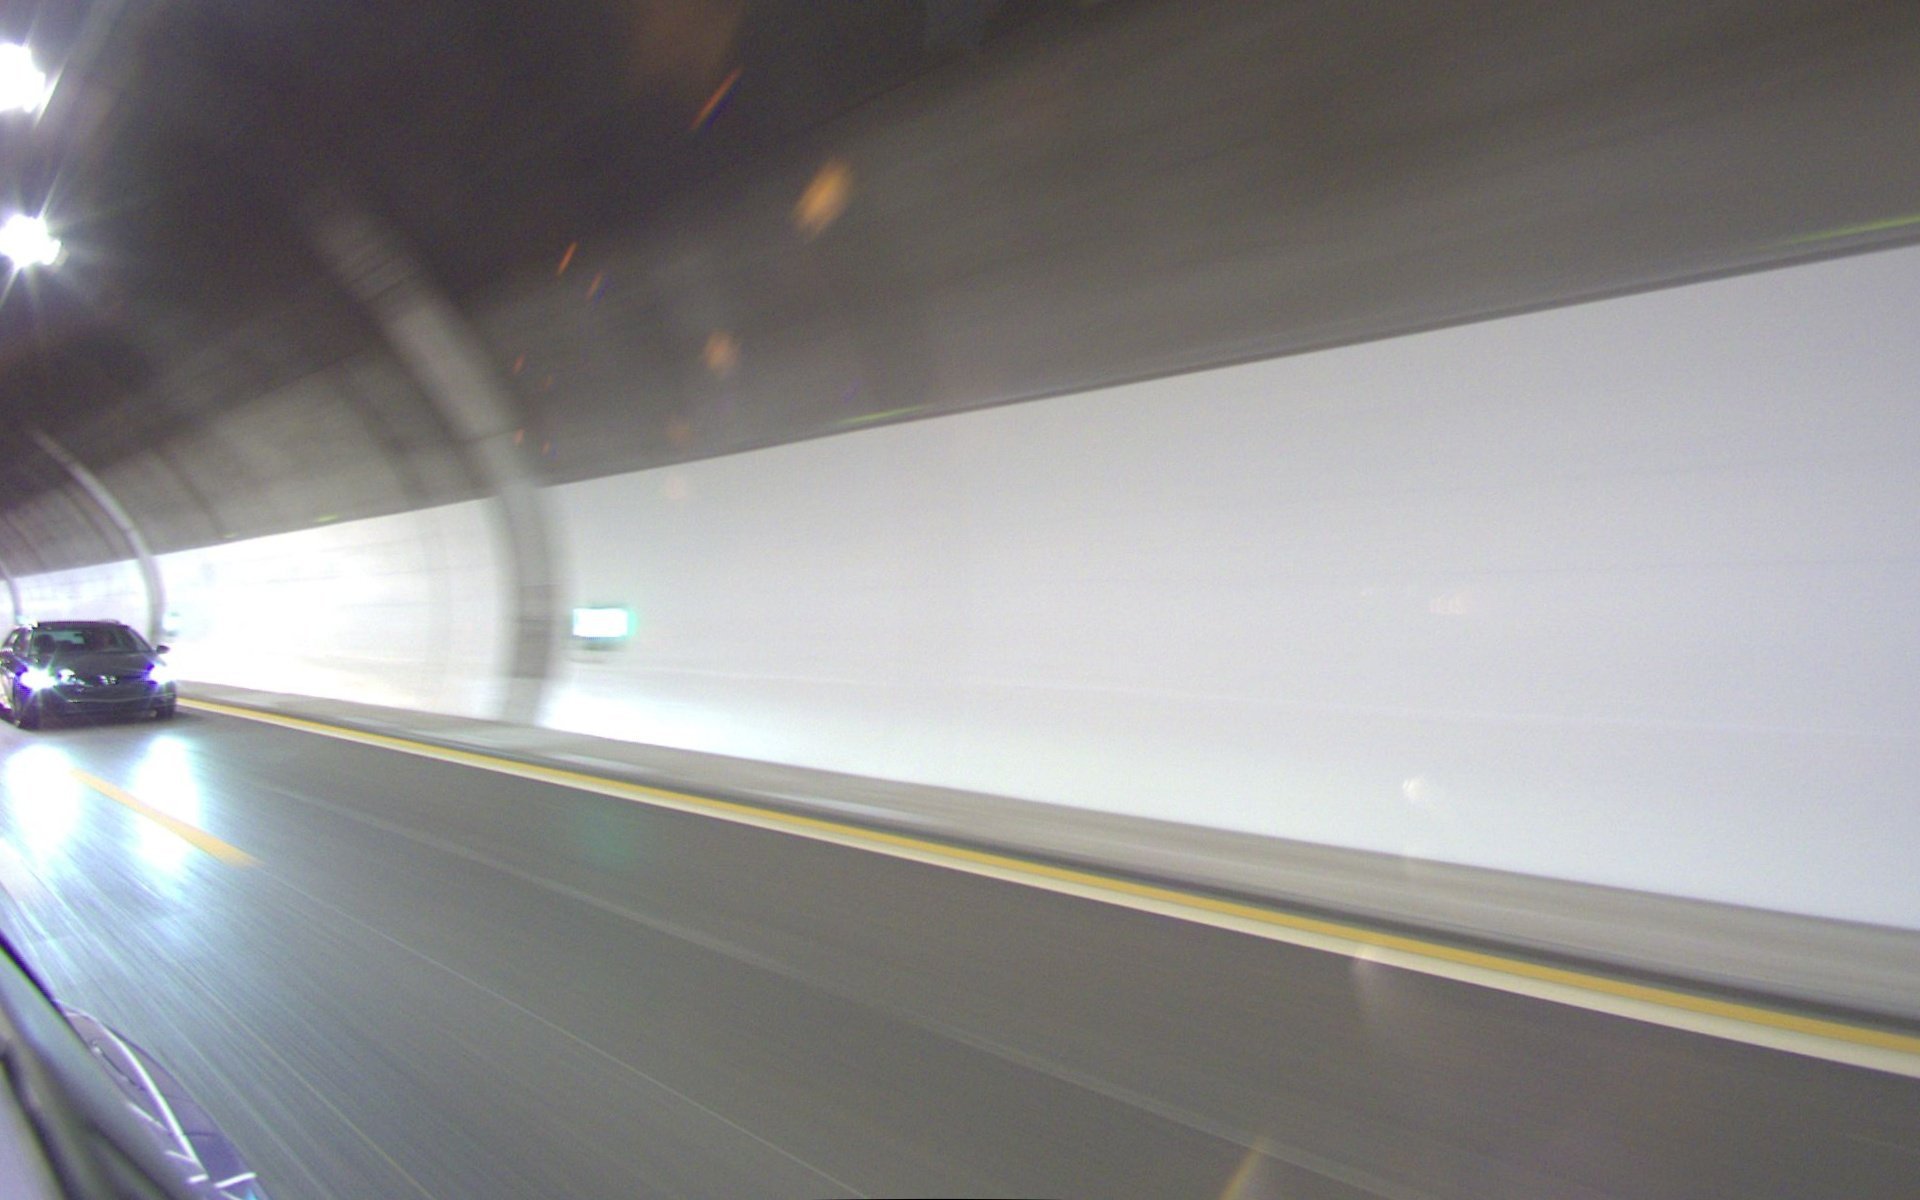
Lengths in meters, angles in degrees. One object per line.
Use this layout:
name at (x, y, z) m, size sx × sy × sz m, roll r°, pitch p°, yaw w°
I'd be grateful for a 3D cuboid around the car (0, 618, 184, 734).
car at (-13.435, 1.042, 15.249) m, size 4.878 × 1.449 × 1.760 m, roll -2°, pitch -1°, yaw 40°
